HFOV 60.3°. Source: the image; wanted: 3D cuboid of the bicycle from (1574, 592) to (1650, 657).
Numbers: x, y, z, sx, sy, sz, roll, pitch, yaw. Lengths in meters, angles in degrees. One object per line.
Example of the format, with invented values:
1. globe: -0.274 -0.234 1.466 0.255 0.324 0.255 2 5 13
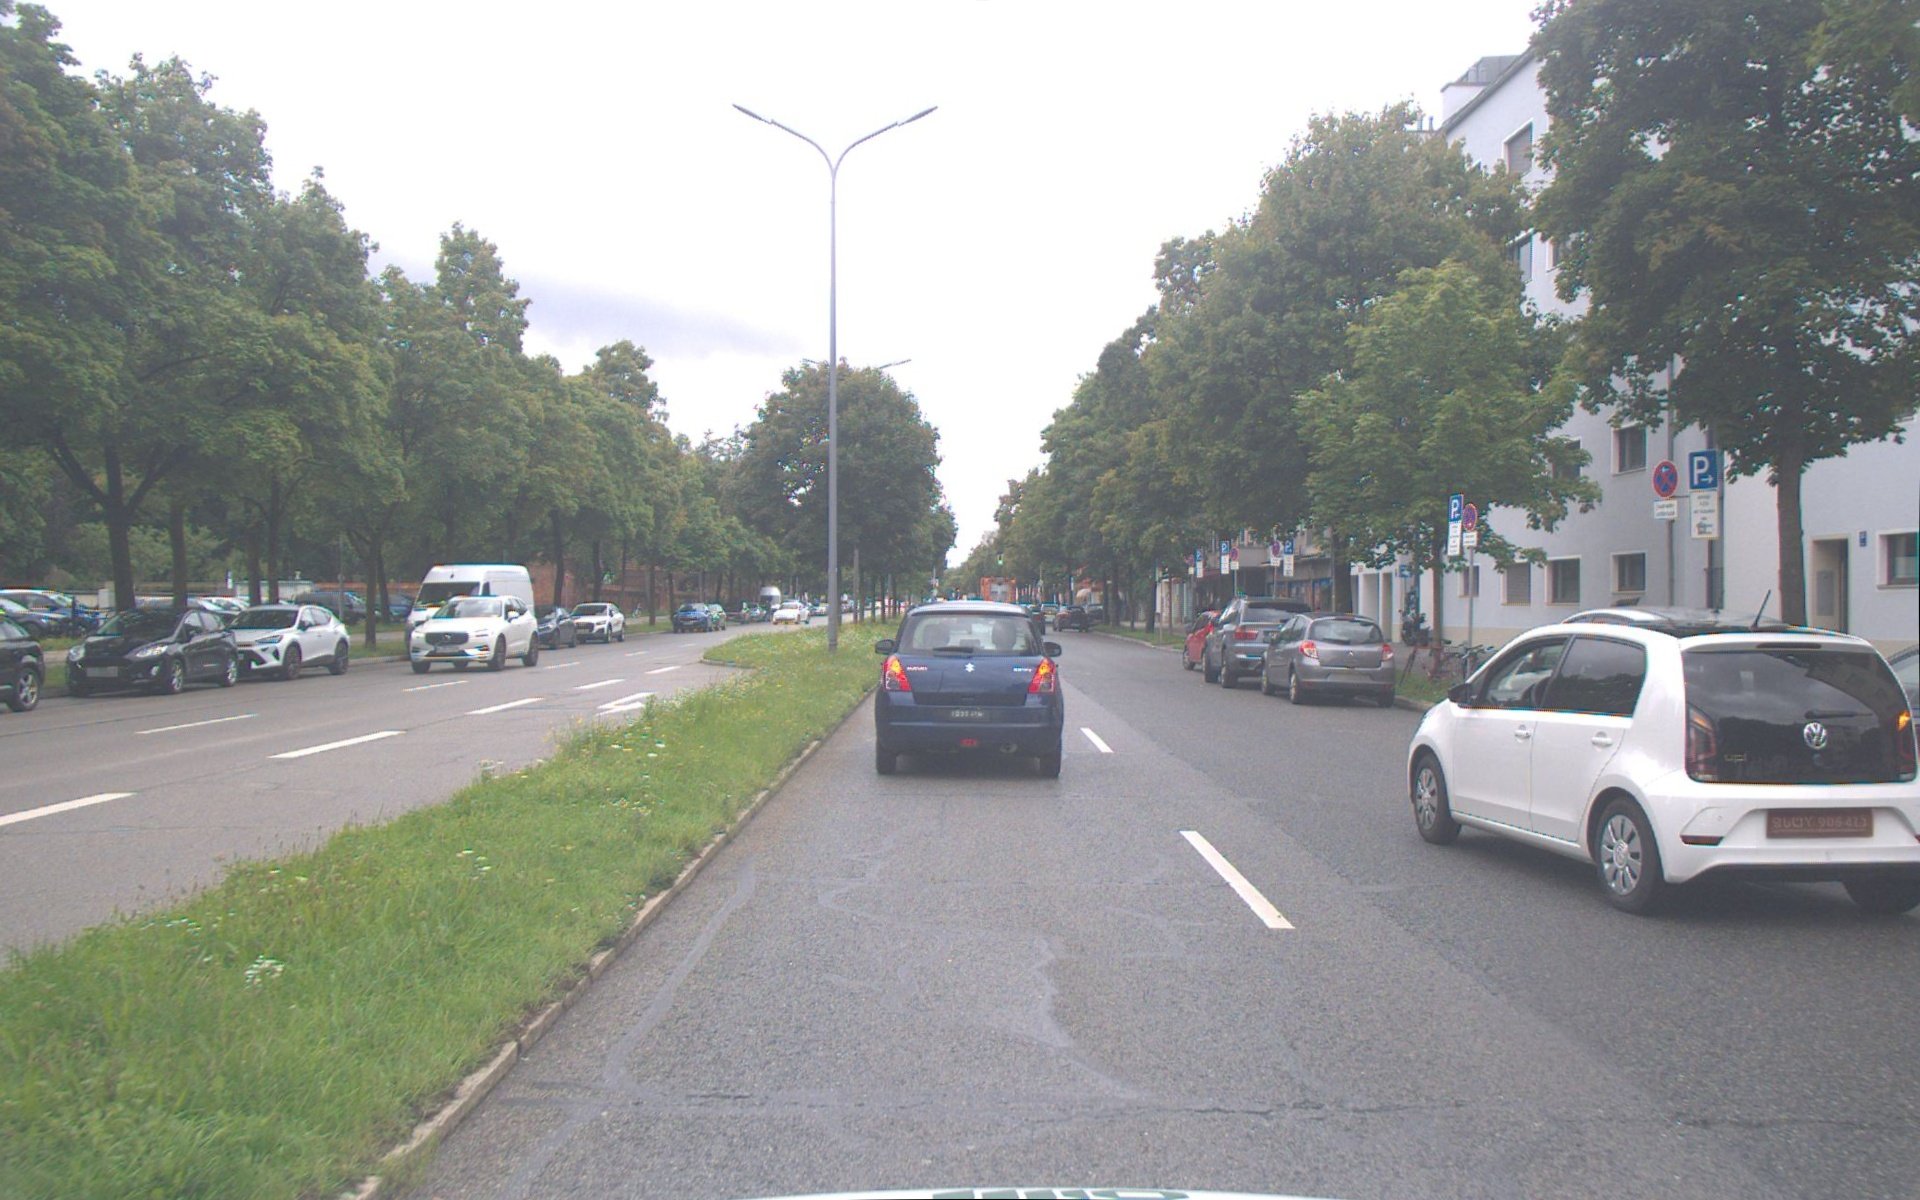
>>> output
1. bicycle: 15.070 0.550 38.284 0.688 1.432 2.592 -2 0 0

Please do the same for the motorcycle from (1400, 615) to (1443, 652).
1. motorcycle: 14.370 1.043 51.525 0.745 1.105 2.199 0 0 0

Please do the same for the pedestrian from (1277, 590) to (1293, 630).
1. pedestrian: 13.494 0.403 68.711 0.530 1.669 0.724 0 0 0

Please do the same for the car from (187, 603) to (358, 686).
1. car: -14.042 0.903 34.045 1.784 1.554 4.297 -1 -1 -1

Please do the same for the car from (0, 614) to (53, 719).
1. car: -14.078 0.933 21.908 1.783 1.434 4.001 -1 0 2

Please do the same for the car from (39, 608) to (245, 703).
1. car: -14.005 0.896 28.565 1.786 1.473 3.996 -1 0 -4

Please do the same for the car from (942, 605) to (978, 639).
1. car: -0.032 1.048 80.164 1.683 1.527 4.300 1 0 0

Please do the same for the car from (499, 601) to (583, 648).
1. car: -14.086 0.838 55.828 1.819 1.517 4.250 0 -1 -1

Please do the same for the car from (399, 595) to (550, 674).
1. car: -10.815 0.733 37.184 1.983 1.648 4.683 -1 0 0

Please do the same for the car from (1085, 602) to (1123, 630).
1. car: 8.736 0.969 100.768 1.953 1.671 4.333 0 0 0

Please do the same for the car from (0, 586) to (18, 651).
1. car: -25.509 0.446 40.428 3.904 1.598 1.815 0 0 1

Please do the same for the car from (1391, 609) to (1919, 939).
1. car: 3.990 0.829 9.567 1.656 1.516 3.427 1 0 -10

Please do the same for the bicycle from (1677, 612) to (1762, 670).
1. bicycle: 15.041 0.795 32.815 0.609 1.064 2.195 -3 0 0

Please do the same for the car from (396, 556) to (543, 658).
1. car: -14.123 0.170 48.142 2.096 2.690 7.105 -1 0 0

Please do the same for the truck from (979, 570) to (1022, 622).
1. truck: 2.920 -0.300 123.935 2.979 3.619 13.675 1 0 1

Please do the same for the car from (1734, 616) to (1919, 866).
1. car: 6.735 0.875 10.283 1.793 1.499 3.884 0 0 -5

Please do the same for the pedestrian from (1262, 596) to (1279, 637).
1. pedestrian: 12.743 0.666 67.972 0.537 1.658 0.641 -1 0 0

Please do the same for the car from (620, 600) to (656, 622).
1. car: -23.463 0.781 120.599 1.776 1.563 4.297 1 0 -1

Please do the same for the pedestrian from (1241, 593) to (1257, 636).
1. pedestrian: 11.880 0.605 67.996 0.489 1.764 0.733 0 0 0

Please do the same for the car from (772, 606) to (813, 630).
1. car: -11.589 1.238 114.639 1.723 1.564 4.318 -2 0 9

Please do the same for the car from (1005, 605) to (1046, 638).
1. car: 3.269 1.057 83.395 1.784 1.503 4.690 2 0 0

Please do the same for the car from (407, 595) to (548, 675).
1. car: -10.717 0.740 37.044 1.813 1.628 4.402 -2 0 0

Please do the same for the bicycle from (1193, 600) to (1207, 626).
1. bicycle: 13.641 0.729 94.070 0.568 1.489 1.688 0 0 0

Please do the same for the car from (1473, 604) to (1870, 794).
1. car: 6.592 0.825 15.941 1.792 1.549 4.522 0 0 -1

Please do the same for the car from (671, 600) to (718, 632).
1. car: -13.833 0.798 86.444 1.849 1.564 4.313 -2 0 -2

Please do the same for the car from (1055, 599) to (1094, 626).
1. car: 6.439 0.677 93.233 1.953 1.477 4.000 0 0 0

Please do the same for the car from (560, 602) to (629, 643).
1. car: -13.951 0.861 63.338 1.819 1.517 4.140 0 -1 -1

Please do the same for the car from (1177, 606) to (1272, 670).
1. car: 6.358 0.888 40.102 1.491 1.466 3.998 0 0 -3

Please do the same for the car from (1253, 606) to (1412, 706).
1. car: 6.273 0.901 28.247 1.792 1.549 3.769 0 0 -1

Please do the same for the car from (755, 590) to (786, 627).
1. car: -16.000 0.690 139.722 2.142 3.005 6.188 1 0 -3

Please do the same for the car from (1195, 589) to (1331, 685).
1. car: 5.960 0.697 33.072 1.792 1.777 4.507 1 0 -1

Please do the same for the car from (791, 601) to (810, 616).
1. car: -16.593 0.858 172.221 1.671 1.561 4.000 0 0 0

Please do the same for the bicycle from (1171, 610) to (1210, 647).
1. bicycle: 8.111 1.000 58.271 0.447 1.278 2.138 0 0 -18

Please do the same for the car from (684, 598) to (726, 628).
1. car: -14.054 0.696 91.435 1.605 1.564 4.314 -2 0 0

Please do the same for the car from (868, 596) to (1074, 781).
1. car: 0.116 0.740 15.851 1.717 1.531 4.000 0 0 1

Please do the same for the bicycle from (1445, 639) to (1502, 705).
1. bicycle: 8.118 1.120 26.175 0.377 0.963 1.675 0 0 0
